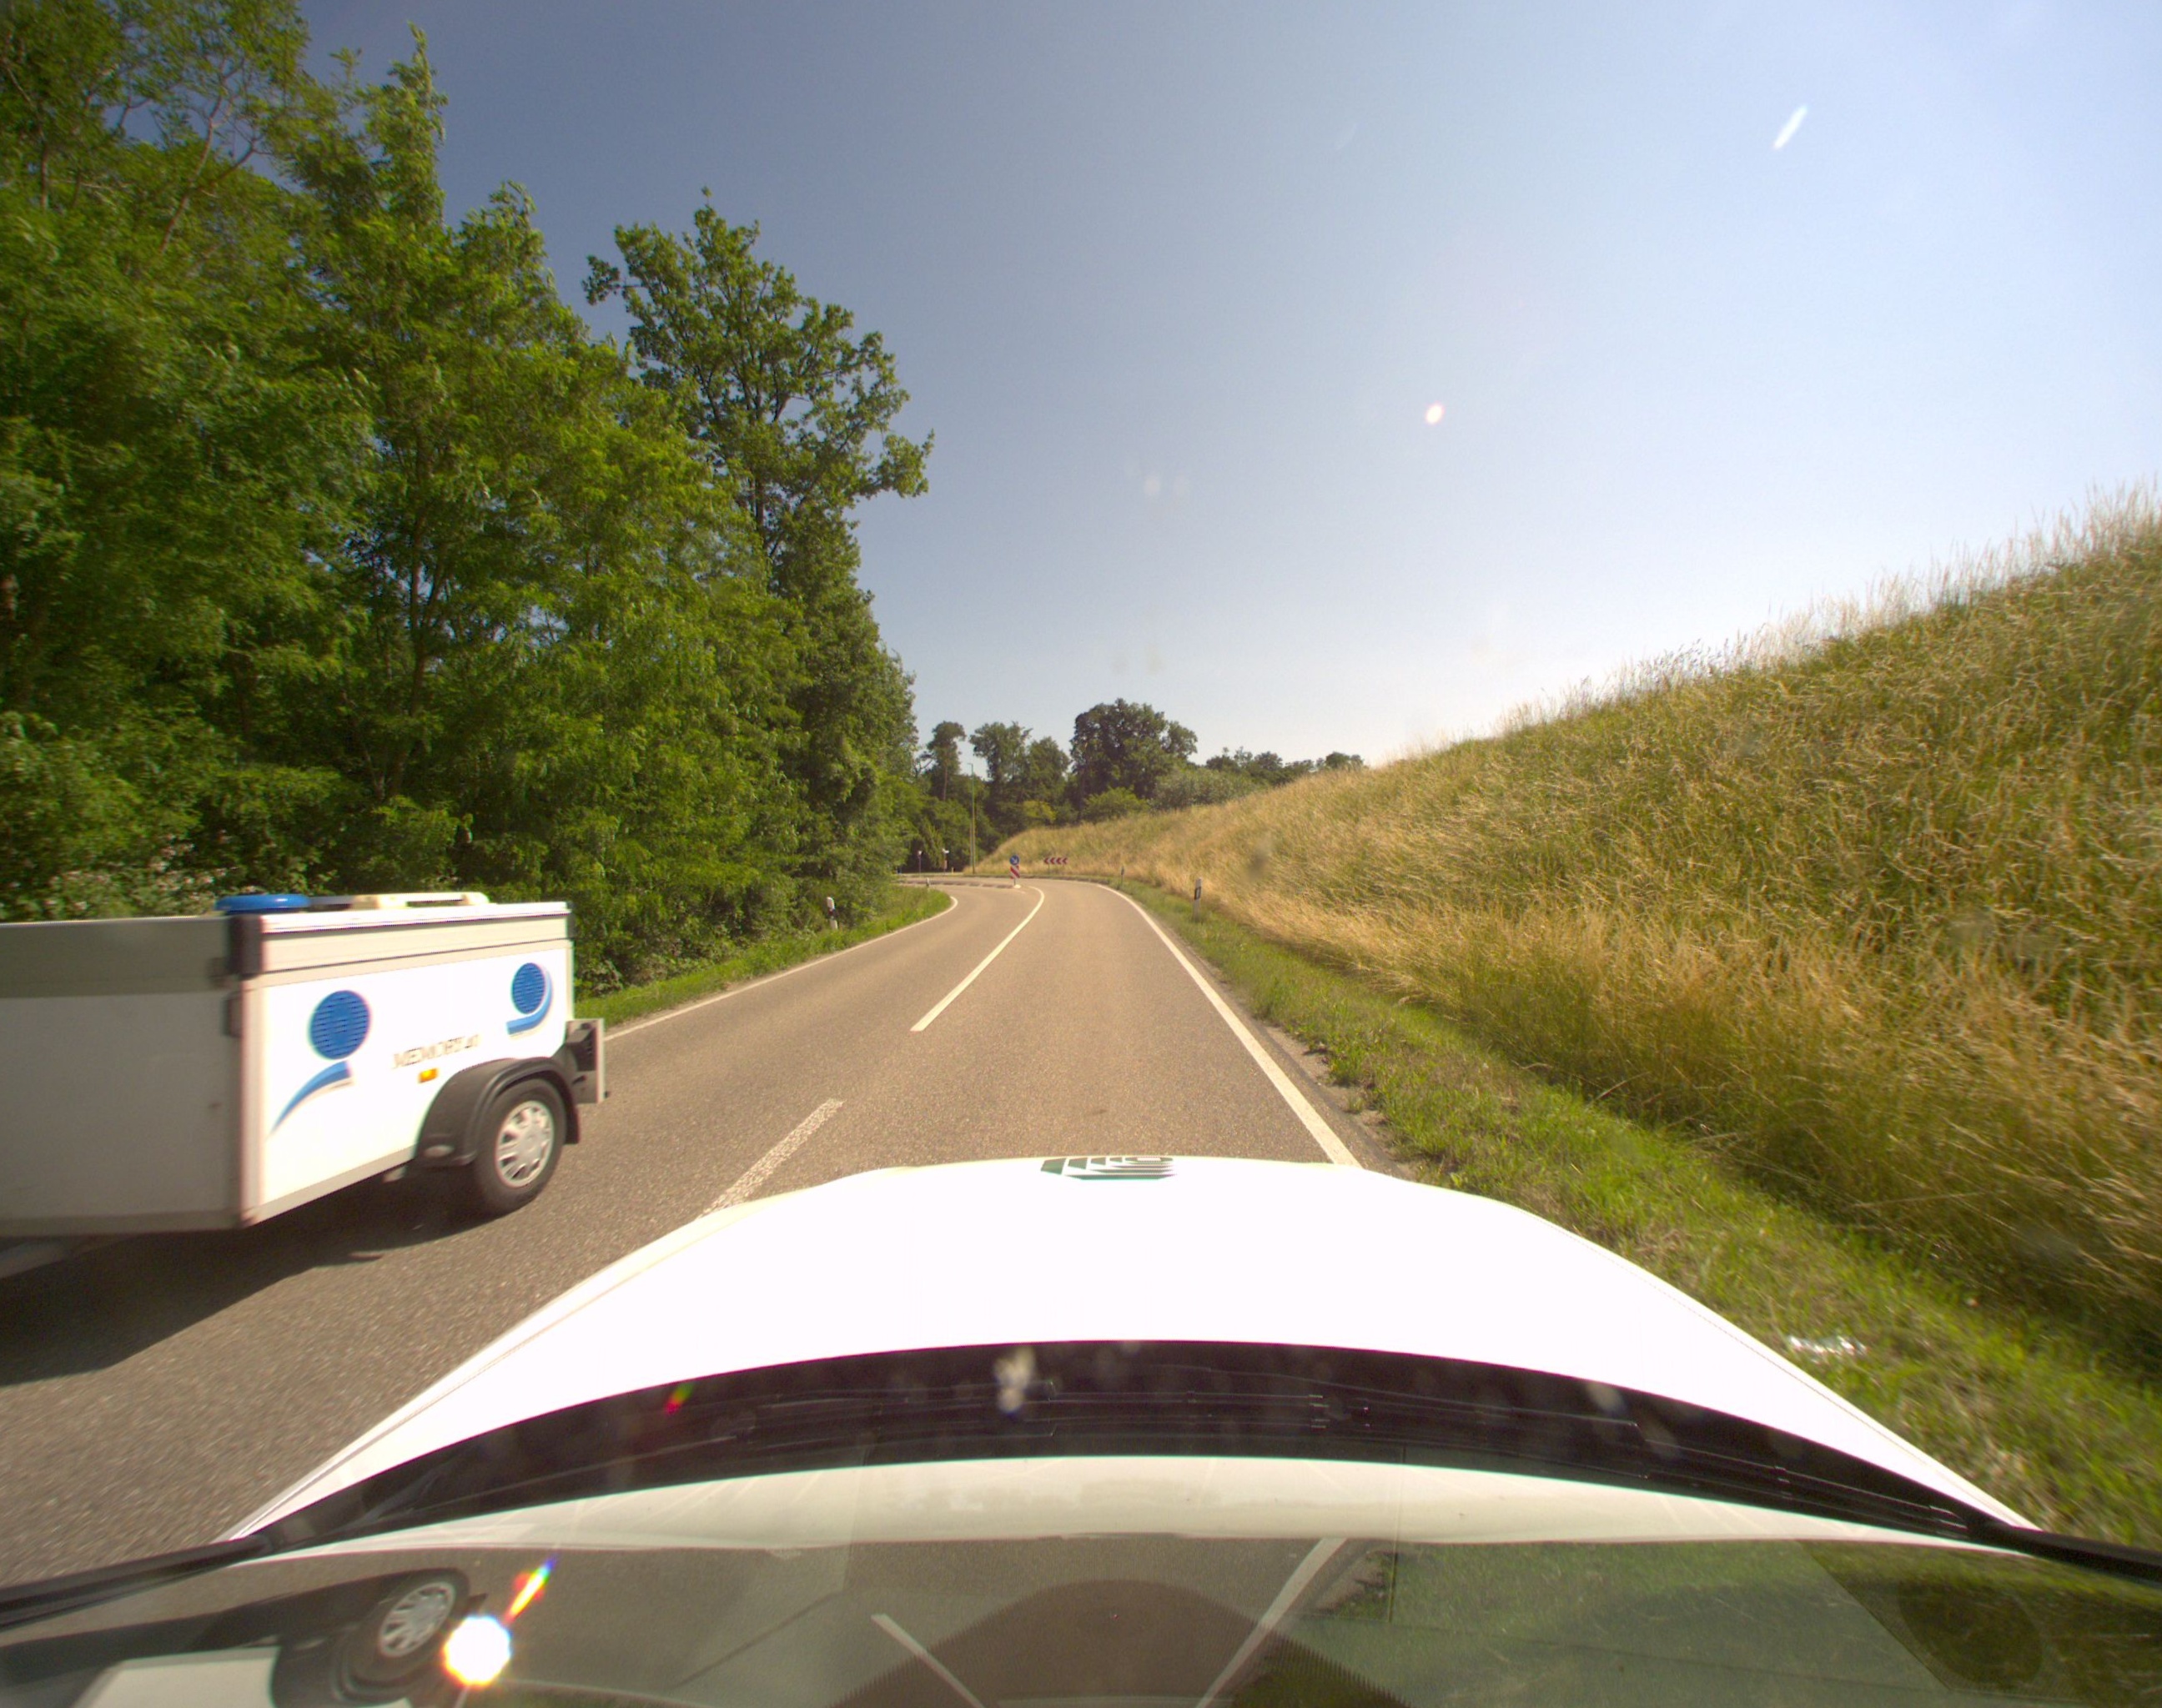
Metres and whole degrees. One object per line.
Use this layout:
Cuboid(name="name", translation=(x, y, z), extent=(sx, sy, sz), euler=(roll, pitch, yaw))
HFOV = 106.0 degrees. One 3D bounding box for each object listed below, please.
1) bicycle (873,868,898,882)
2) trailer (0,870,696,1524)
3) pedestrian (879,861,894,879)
Cuboid(name="bicycle", translation=(-23.095, 2.471, 96.164), extent=(3.158, 1.587, 1.194), euler=(-3, -1, 42))
Cuboid(name="trailer", translation=(-3.230, 0.840, 3.422), extent=(1.554, 1.441, 3.269), euler=(-2, 0, 1))
Cuboid(name="pedestrian", translation=(-22.972, 1.865, 96.066), extent=(1.127, 2.013, 1.272), euler=(-3, -1, 40))
